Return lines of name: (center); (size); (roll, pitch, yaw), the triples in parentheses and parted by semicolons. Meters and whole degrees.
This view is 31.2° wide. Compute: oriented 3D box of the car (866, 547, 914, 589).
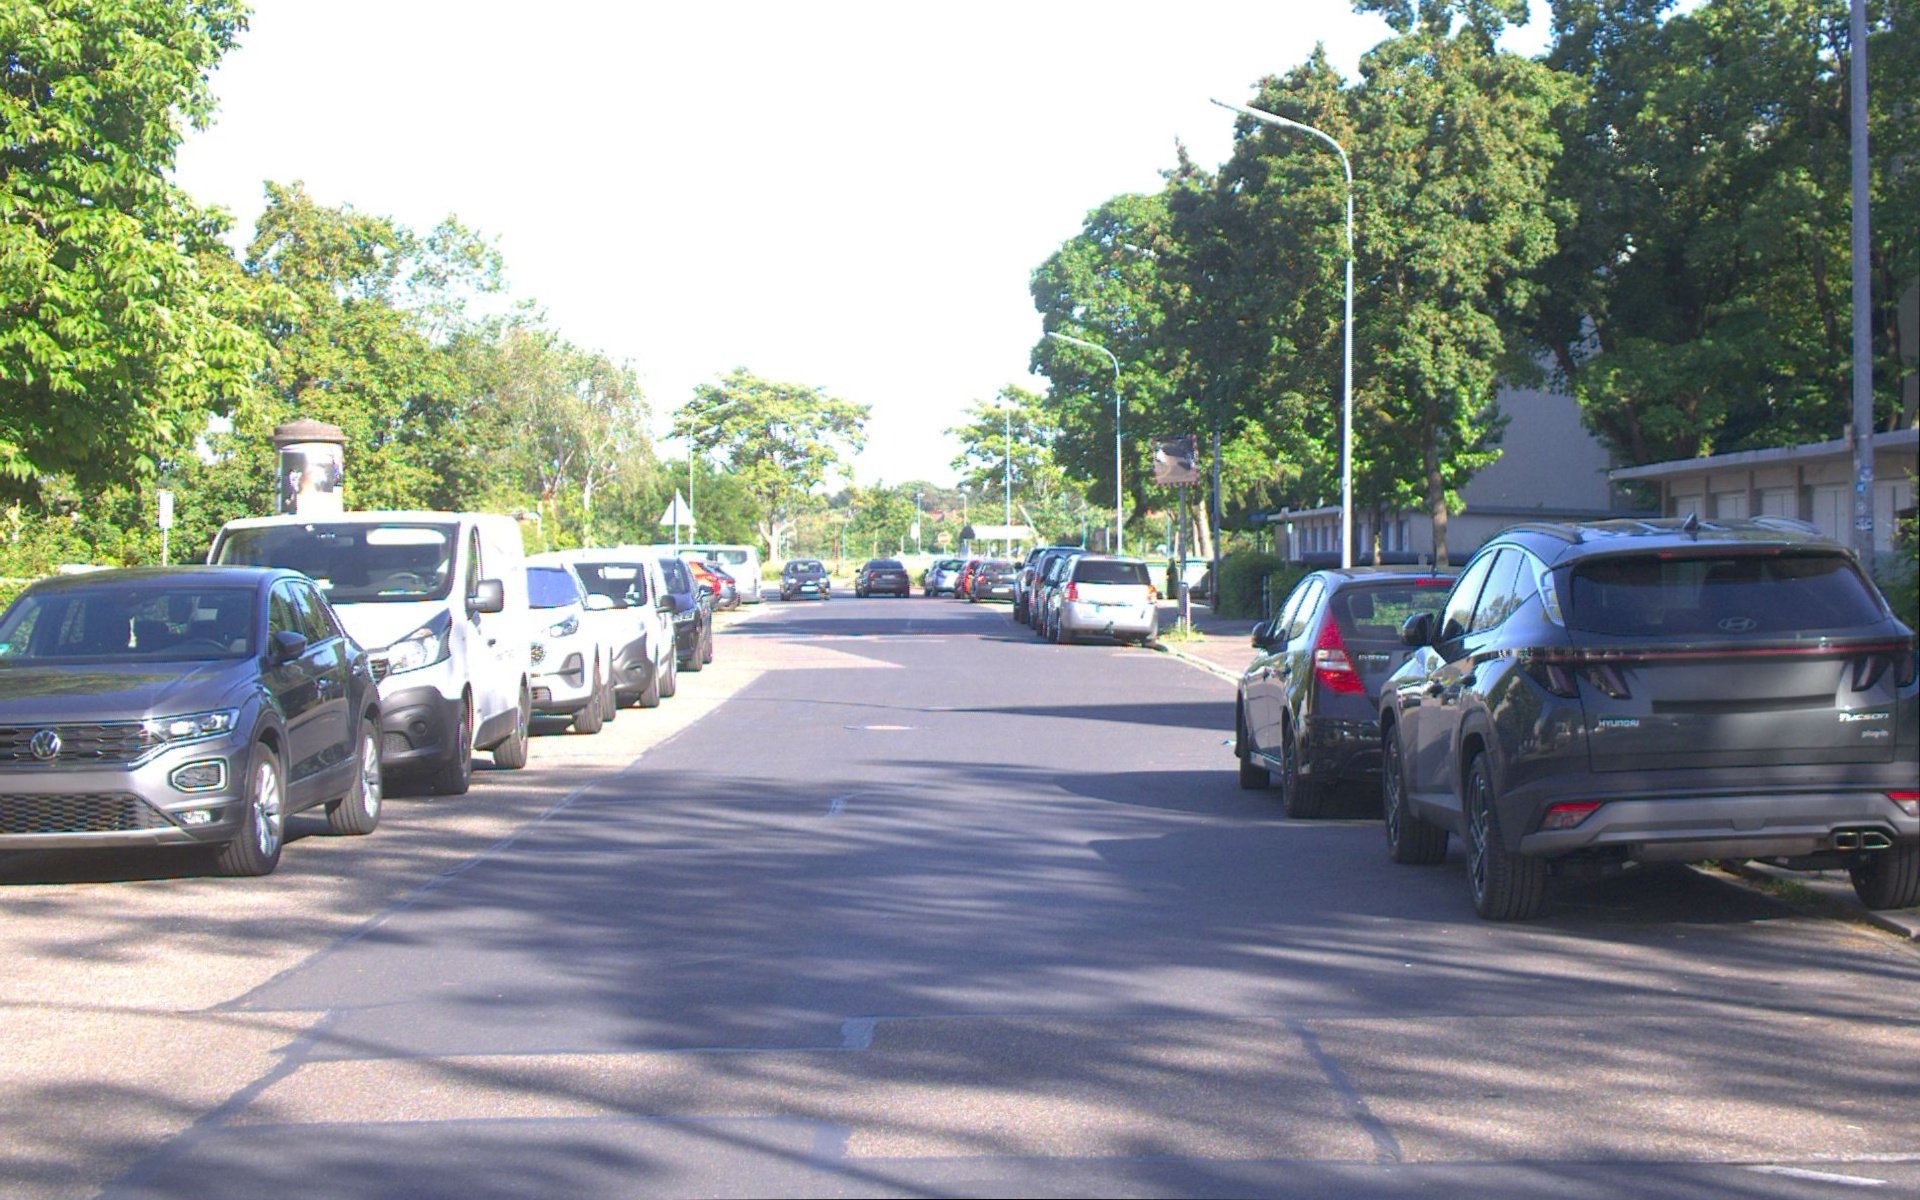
car: (-2.687, -1.239, 132.003); (1.679, 1.508, 4.105); (2, 1, -3)

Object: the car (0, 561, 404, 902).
car: (-4.194, 0.591, 17.965); (1.746, 1.528, 4.139); (-1, 1, 2)

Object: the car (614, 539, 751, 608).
car: (-8.365, -0.805, 103.577); (4.053, 1.985, 1.802); (1, 1, -5)

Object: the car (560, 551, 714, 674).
car: (-4.486, 0.134, 48.265); (1.746, 1.607, 4.308); (-1, 1, 0)

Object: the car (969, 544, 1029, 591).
car: (1.313, -1.124, 116.705); (1.795, 1.543, 3.952); (1, 1, -3)

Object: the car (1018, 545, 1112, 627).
car: (2.338, -0.339, 77.430); (1.795, 1.780, 3.952); (1, 1, -3)

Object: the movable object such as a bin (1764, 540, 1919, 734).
movable object such as a bin: (6.789, 0.266, 26.420); (0.917, 1.449, 1.233); (0, 1, 0)

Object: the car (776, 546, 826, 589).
car: (-5.909, -1.210, 127.409); (1.795, 1.556, 3.952); (1, 1, -3)

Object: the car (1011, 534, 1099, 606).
car: (2.244, -0.731, 81.993); (1.795, 1.638, 3.952); (1, 1, -3)

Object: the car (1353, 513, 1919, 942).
car: (3.021, 0.458, 15.548); (1.908, 1.634, 4.628); (1, 1, 0)

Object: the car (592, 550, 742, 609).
car: (-8.100, -0.564, 95.056); (4.053, 1.556, 1.802); (1, 1, -5)

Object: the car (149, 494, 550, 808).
car: (-4.185, 0.280, 24.418); (1.915, 1.956, 5.088); (-1, 1, 0)

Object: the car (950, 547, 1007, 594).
car: (0.652, -1.089, 124.032); (1.795, 1.638, 3.952); (1, 1, -3)

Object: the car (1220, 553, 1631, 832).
car: (2.754, 0.487, 21.302); (1.908, 1.525, 4.328); (1, 1, 0)

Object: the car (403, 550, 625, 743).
car: (-4.171, 0.383, 32.726); (1.746, 1.664, 4.379); (-1, 1, -3)

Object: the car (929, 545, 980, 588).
car: (-0.220, -1.314, 134.026); (1.795, 1.638, 3.952); (1, 1, -3)

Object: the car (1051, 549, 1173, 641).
car: (2.684, -0.114, 61.476); (1.795, 1.556, 3.952); (1, 1, -3)

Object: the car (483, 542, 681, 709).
car: (-4.141, 0.237, 38.207); (1.746, 1.726, 4.005); (-1, 1, 0)

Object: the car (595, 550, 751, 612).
car: (-7.603, -0.513, 91.017); (4.053, 1.556, 1.802); (1, 1, -5)

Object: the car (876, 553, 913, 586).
car: (-3.454, -1.593, 179.966); (1.795, 1.638, 3.952); (1, 1, -3)
